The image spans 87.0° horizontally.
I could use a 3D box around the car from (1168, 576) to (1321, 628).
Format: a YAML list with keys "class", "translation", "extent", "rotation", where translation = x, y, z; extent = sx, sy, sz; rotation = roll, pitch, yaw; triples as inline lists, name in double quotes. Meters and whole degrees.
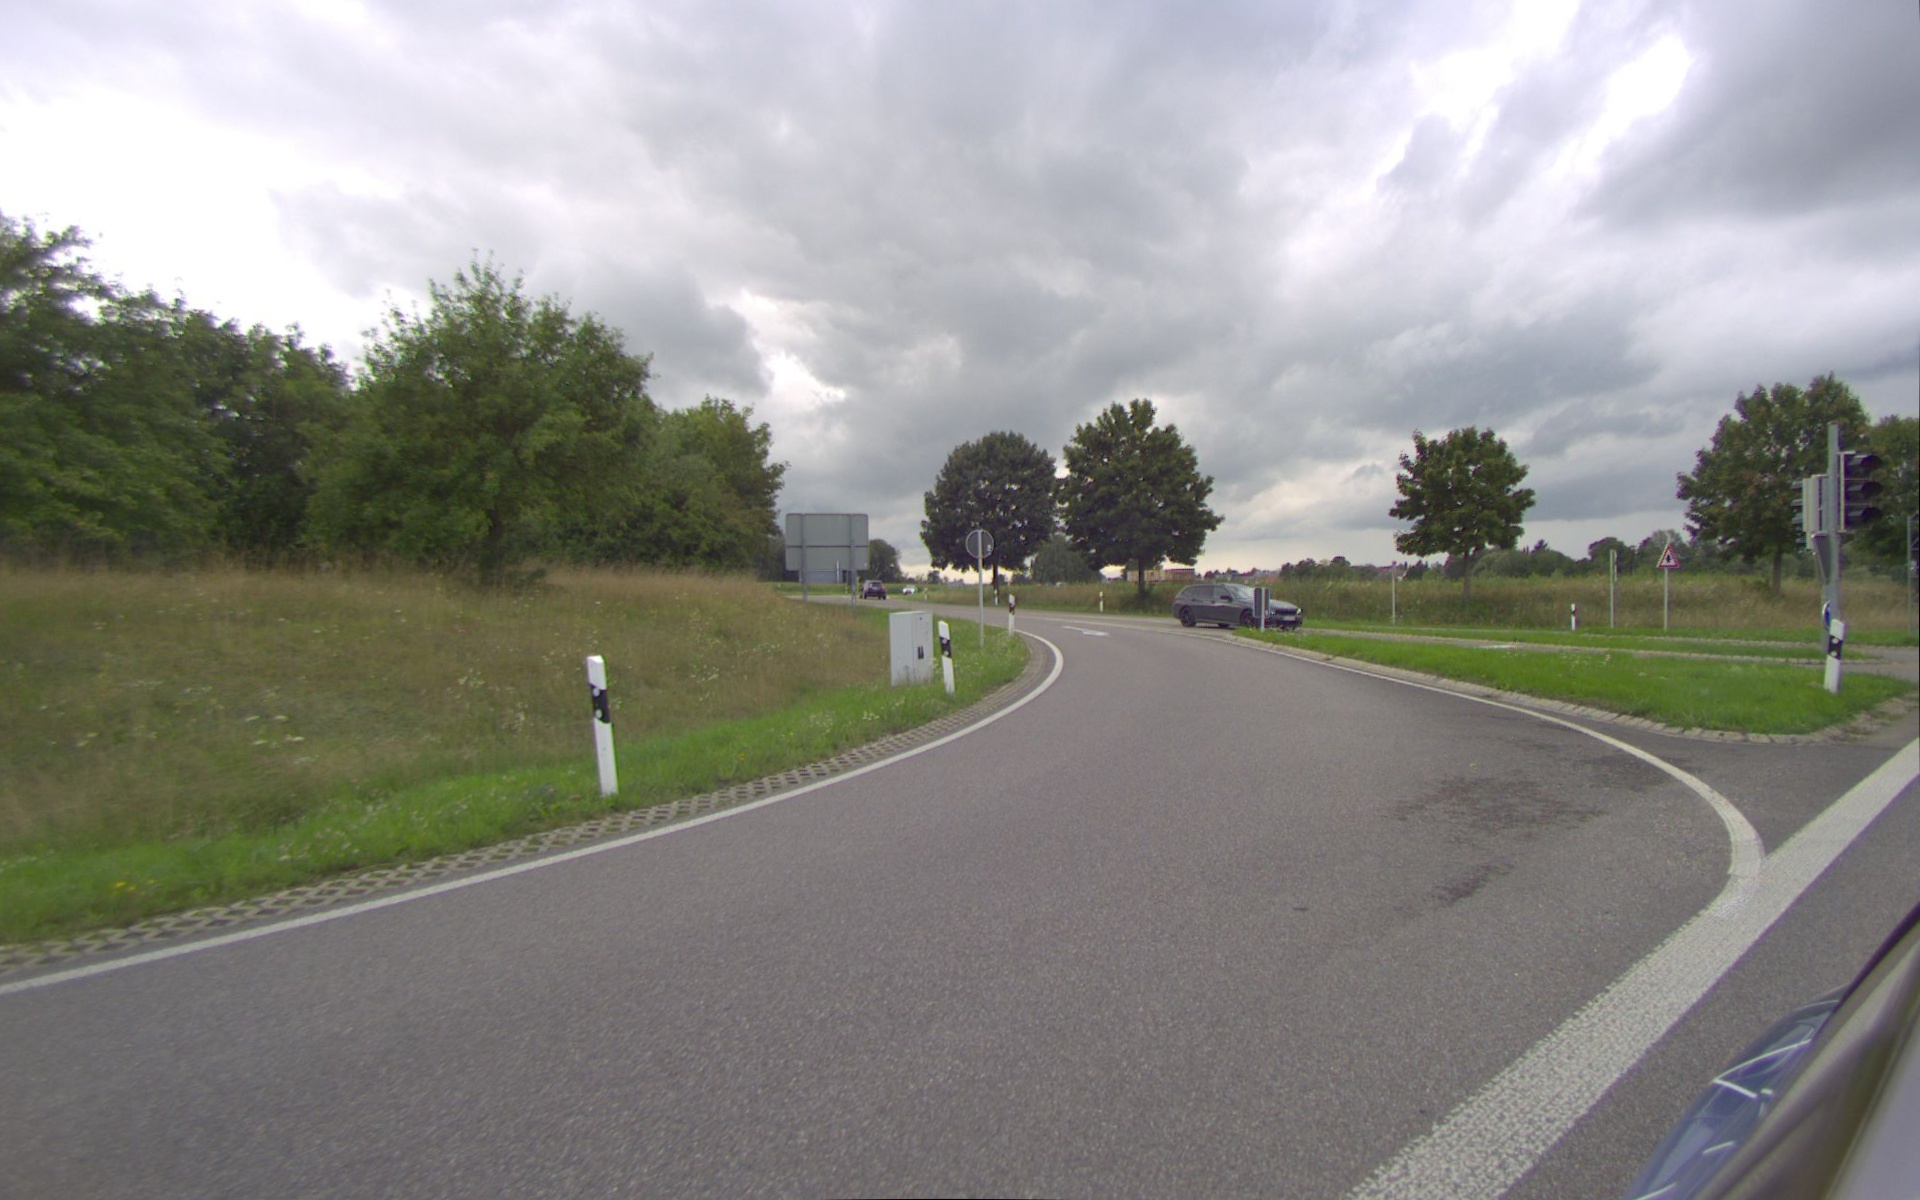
- class: "car"
  translation: [8.837, 0.012, 31.868]
  extent: [1.960, 1.522, 4.673]
  rotation: [0, 1, -29]

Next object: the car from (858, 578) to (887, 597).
- class: "car"
  translation: [-7.016, -0.969, 80.986]
  extent: [1.775, 1.469, 4.281]
  rotation: [0, 0, -12]
